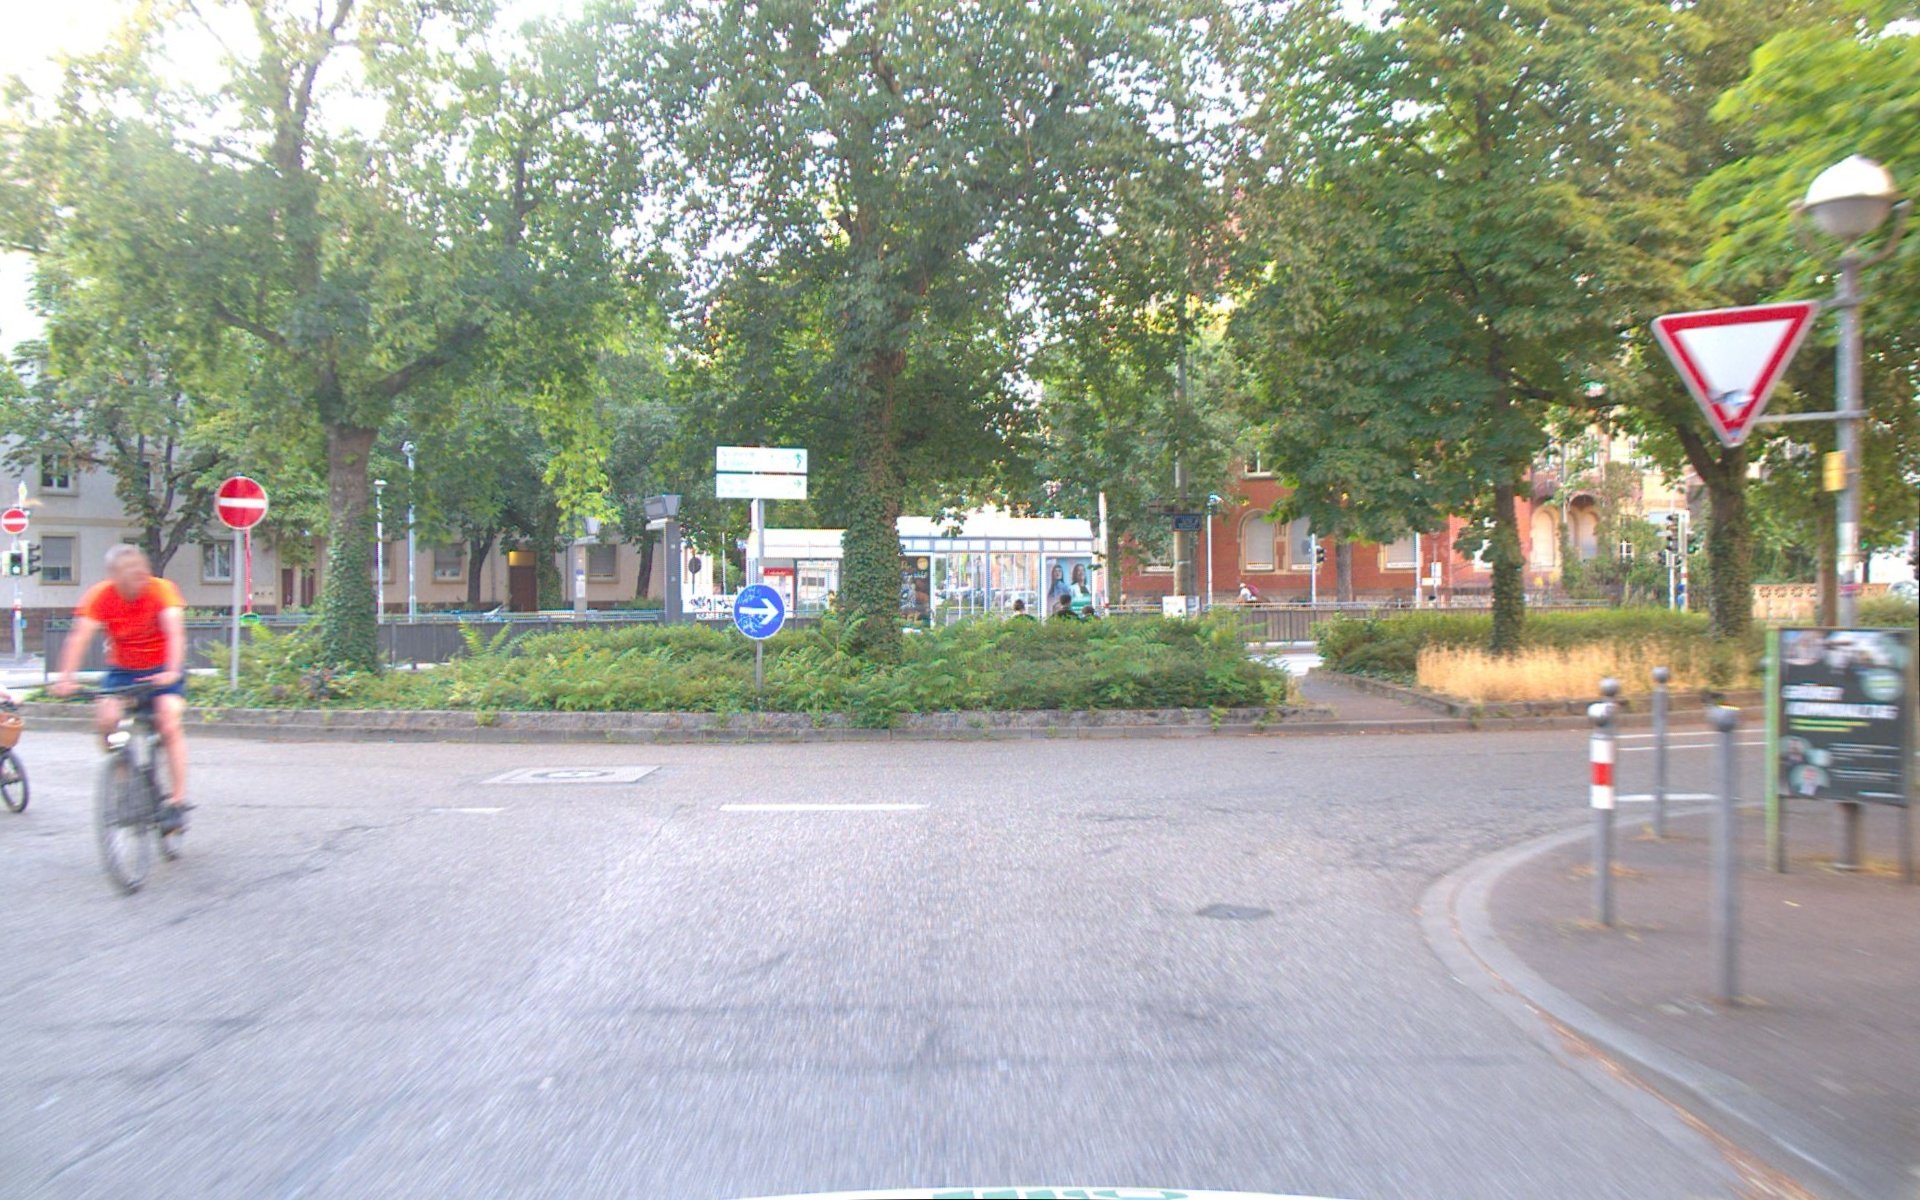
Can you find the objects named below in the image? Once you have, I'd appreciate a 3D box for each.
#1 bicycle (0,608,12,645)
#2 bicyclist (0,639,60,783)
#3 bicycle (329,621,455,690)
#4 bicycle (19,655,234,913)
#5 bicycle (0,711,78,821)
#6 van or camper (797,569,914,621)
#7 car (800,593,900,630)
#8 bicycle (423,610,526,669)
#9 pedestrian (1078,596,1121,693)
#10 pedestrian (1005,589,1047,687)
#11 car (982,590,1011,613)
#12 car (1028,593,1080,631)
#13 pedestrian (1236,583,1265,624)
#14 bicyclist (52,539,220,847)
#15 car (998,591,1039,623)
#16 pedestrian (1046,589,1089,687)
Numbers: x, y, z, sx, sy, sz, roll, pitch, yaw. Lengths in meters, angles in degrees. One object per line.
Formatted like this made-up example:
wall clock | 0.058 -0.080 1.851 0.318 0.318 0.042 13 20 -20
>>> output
bicycle | -31.239 0.864 52.501 0.672 1.171 1.915 0 0 32
bicyclist | -6.964 0.790 11.942 0.643 0.994 0.718 -1 0 -44
bicycle | -10.159 0.974 29.609 2.081 1.171 0.681 -1 0 -25
bicycle | -4.377 0.899 8.819 0.639 1.126 2.006 0 0 -16
bicycle | -6.928 1.177 11.906 0.647 0.654 1.440 -1 0 -44
van or camper | -6.646 -0.295 104.854 7.223 3.137 2.670 1 0 -6
car | -5.482 0.582 82.143 4.855 1.733 1.998 1 0 -6
bicycle | -9.203 0.734 31.389 1.824 1.070 0.542 -1 0 -24
pedestrian | 2.140 0.674 25.444 0.603 1.456 0.655 0 0 0
pedestrian | 0.987 0.568 24.965 0.603 1.456 0.655 0 0 0
car | 2.886 0.094 130.361 1.954 1.733 4.717 1 0 -3
car | 4.430 0.553 78.463 1.954 1.733 4.717 1 0 -3
pedestrian | 11.233 0.130 63.974 0.850 1.552 0.713 0 0 37
bicyclist | -4.376 0.463 8.835 0.641 1.552 0.863 0 0 -16
car | 3.301 0.396 94.762 1.954 1.733 4.717 1 0 -3
pedestrian | 1.626 0.568 25.074 0.603 1.456 0.655 0 0 0
